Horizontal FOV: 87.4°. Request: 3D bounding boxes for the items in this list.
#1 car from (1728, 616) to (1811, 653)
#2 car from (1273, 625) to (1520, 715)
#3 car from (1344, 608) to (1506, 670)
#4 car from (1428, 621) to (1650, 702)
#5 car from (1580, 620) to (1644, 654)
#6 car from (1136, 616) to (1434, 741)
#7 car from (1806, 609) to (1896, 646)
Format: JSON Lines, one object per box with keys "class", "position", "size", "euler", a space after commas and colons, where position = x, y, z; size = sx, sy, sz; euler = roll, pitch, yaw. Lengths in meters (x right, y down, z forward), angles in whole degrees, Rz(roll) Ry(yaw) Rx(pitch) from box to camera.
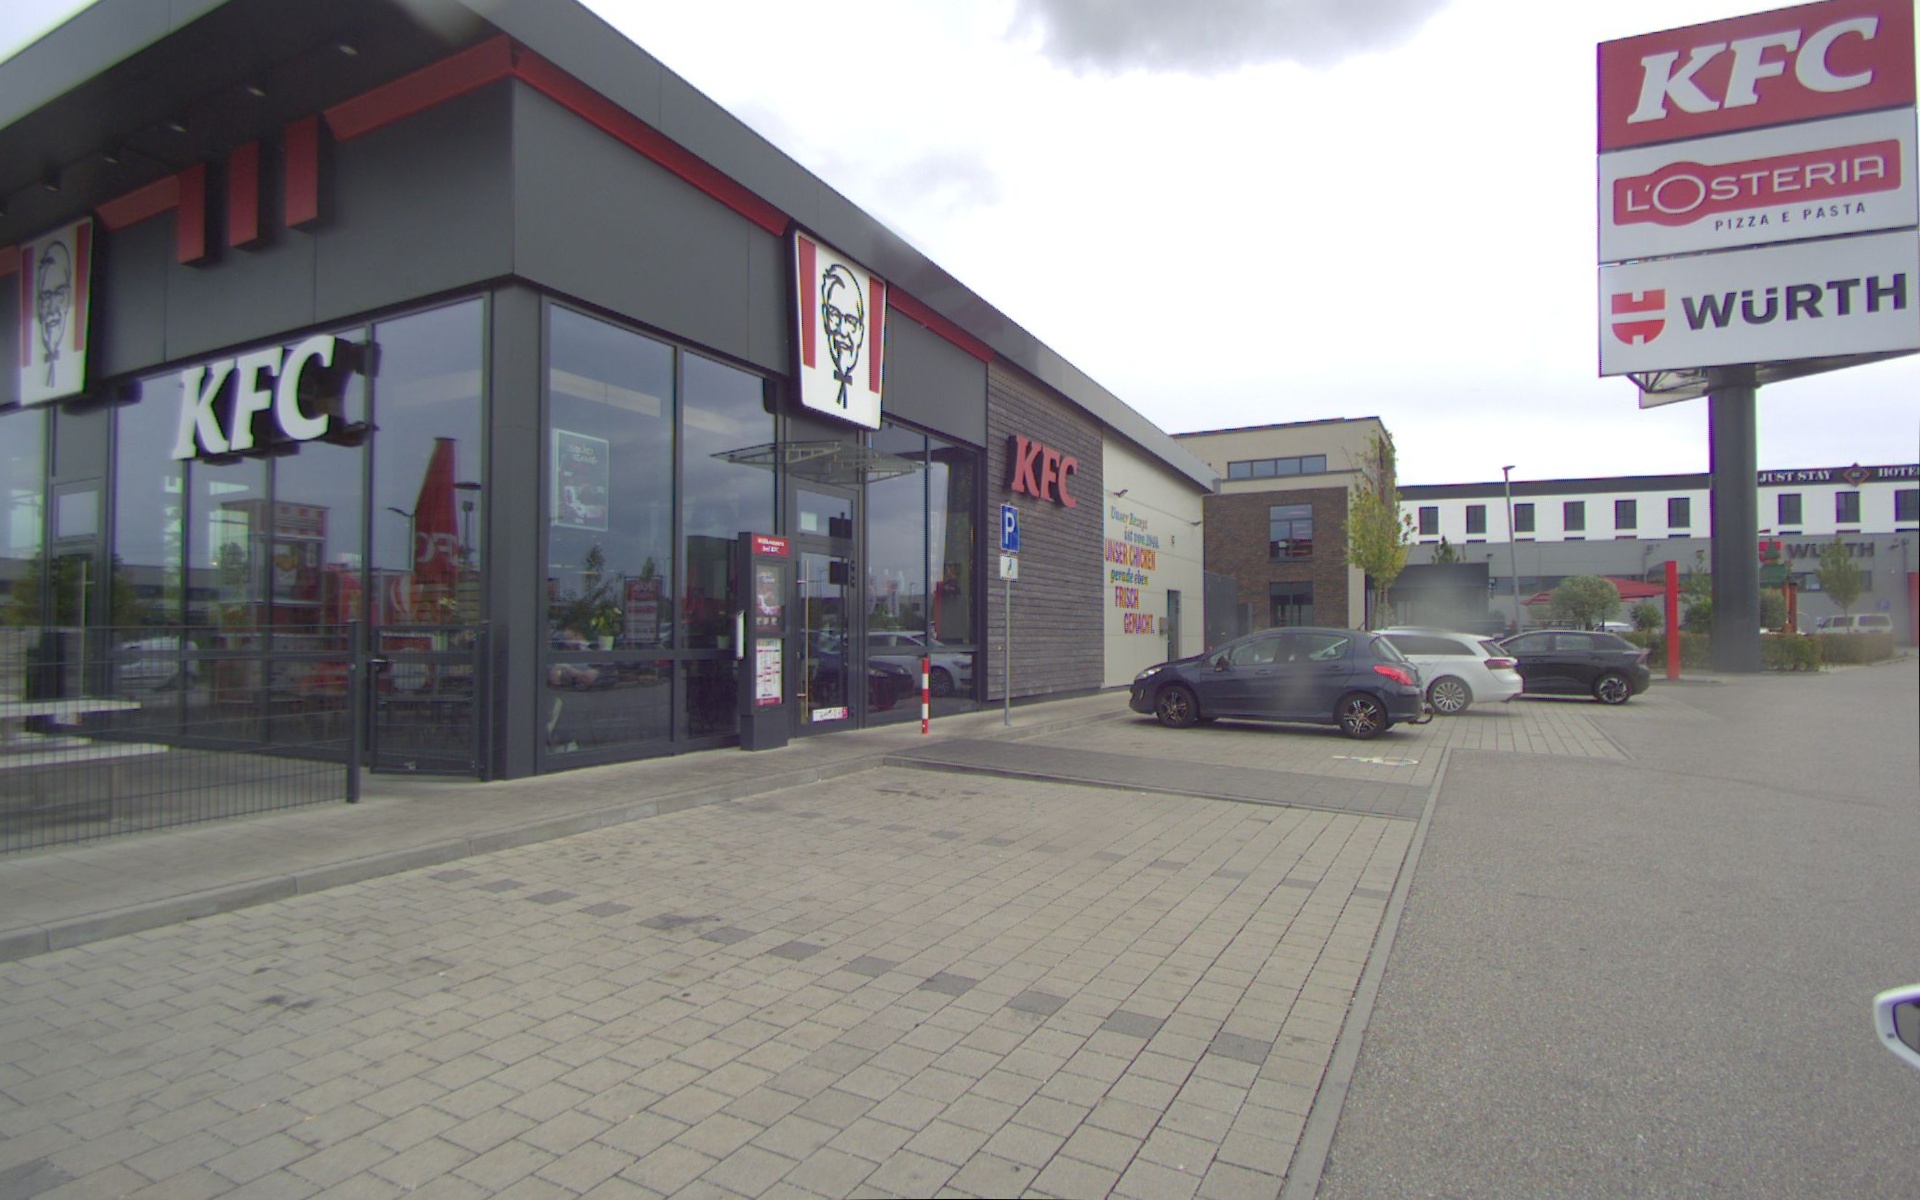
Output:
{"class": "car", "position": [39.949, 1.710, 49.689], "size": [1.962, 1.672, 4.576], "euler": [-2, -3, 23]}
{"class": "car", "position": [8.221, 1.237, 18.975], "size": [4.105, 1.506, 1.996], "euler": [-1, -1, 30]}
{"class": "car", "position": [12.851, 1.103, 27.819], "size": [3.929, 1.617, 1.733], "euler": [-2, -3, 29]}
{"class": "car", "position": [12.514, 1.277, 21.933], "size": [4.049, 1.548, 1.739], "euler": [0, -1, 29]}
{"class": "car", "position": [33.736, 1.927, 52.097], "size": [1.962, 1.672, 4.576], "euler": [-2, -3, 23]}
{"class": "car", "position": [4.742, 1.043, 14.749], "size": [3.869, 1.507, 1.755], "euler": [1, 0, 30]}
{"class": "car", "position": [50.842, 1.621, 57.428], "size": [2.021, 1.879, 4.064], "euler": [-5, -3, 14]}
